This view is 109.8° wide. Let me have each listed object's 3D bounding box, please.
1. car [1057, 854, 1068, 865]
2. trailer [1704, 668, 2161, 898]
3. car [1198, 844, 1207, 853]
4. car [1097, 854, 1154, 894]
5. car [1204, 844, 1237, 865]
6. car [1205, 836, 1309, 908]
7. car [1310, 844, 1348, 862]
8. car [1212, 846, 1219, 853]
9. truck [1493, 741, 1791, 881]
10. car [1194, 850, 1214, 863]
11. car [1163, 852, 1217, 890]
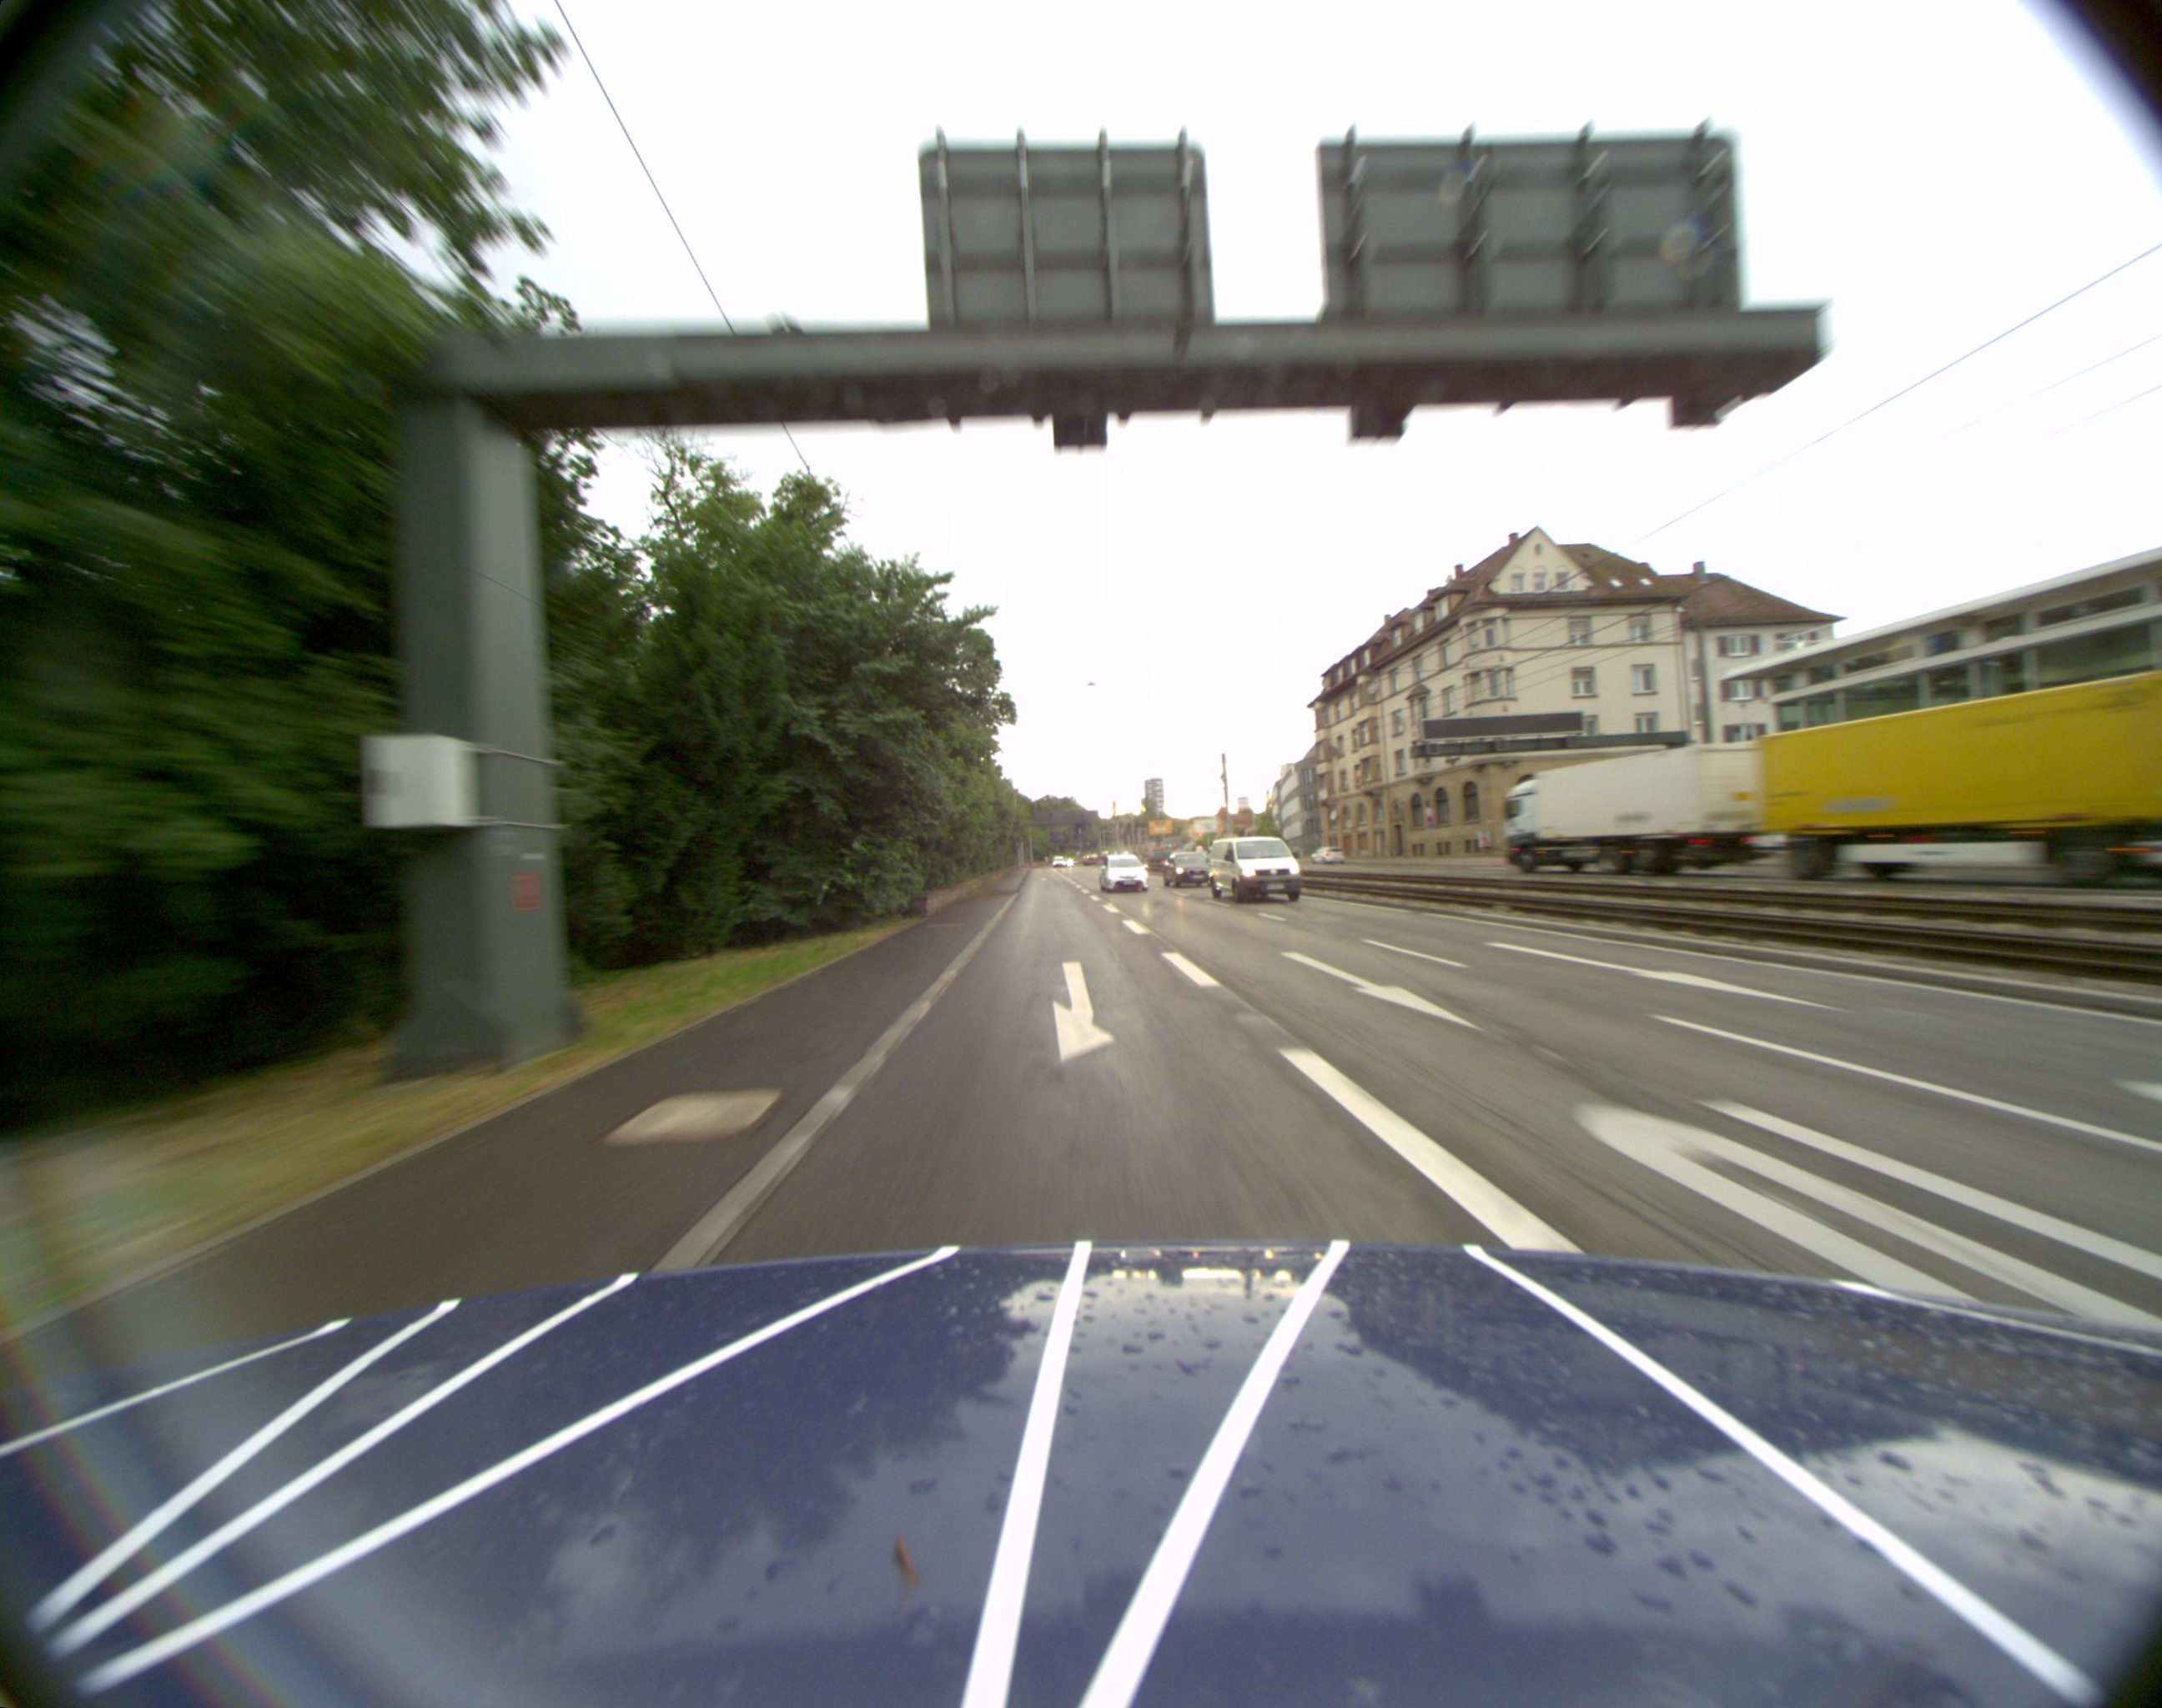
[{"bbox_3d":[-3.071,0.903,124.702,1.710,1.585,3.999,-3,0,-3],"label":"car"},{"bbox_3d":[20.027,-1.286,17.930,2.691,4.028,9.080,-2,0,-4],"label":"trailer"},{"bbox_3d":[35.808,-1.677,223.511,2.336,2.453,7.031,-2,0,10],"label":"car"},{"bbox_3d":[1.881,0.854,33.626,1.982,1.564,4.318,-2,0,-3],"label":"car"},{"bbox_3d":[13.887,0.074,75.791,1.999,1.863,5.191,-3,0,-4],"label":"car"},{"bbox_3d":[5.372,0.527,23.855,1.914,1.947,4.717,-3,0,-2],"label":"car"},{"bbox_3d":[20.708,-0.082,63.611,1.685,1.396,3.850,-3,0,-3],"label":"car"},{"bbox_3d":[37.103,-1.210,209.453,1.834,1.787,4.219,-1,0,11],"label":"car"},{"bbox_3d":[19.400,-1.272,27.577,2.690,4.028,10.139,-2,0,-4],"label":"truck"},{"bbox_3d":[16.535,0.349,102.315,1.725,1.583,4.741,-1,0,-4],"label":"car"},{"bbox_3d":[4.975,0.750,35.132,1.709,1.564,3.895,-2,0,-3],"label":"car"}]
